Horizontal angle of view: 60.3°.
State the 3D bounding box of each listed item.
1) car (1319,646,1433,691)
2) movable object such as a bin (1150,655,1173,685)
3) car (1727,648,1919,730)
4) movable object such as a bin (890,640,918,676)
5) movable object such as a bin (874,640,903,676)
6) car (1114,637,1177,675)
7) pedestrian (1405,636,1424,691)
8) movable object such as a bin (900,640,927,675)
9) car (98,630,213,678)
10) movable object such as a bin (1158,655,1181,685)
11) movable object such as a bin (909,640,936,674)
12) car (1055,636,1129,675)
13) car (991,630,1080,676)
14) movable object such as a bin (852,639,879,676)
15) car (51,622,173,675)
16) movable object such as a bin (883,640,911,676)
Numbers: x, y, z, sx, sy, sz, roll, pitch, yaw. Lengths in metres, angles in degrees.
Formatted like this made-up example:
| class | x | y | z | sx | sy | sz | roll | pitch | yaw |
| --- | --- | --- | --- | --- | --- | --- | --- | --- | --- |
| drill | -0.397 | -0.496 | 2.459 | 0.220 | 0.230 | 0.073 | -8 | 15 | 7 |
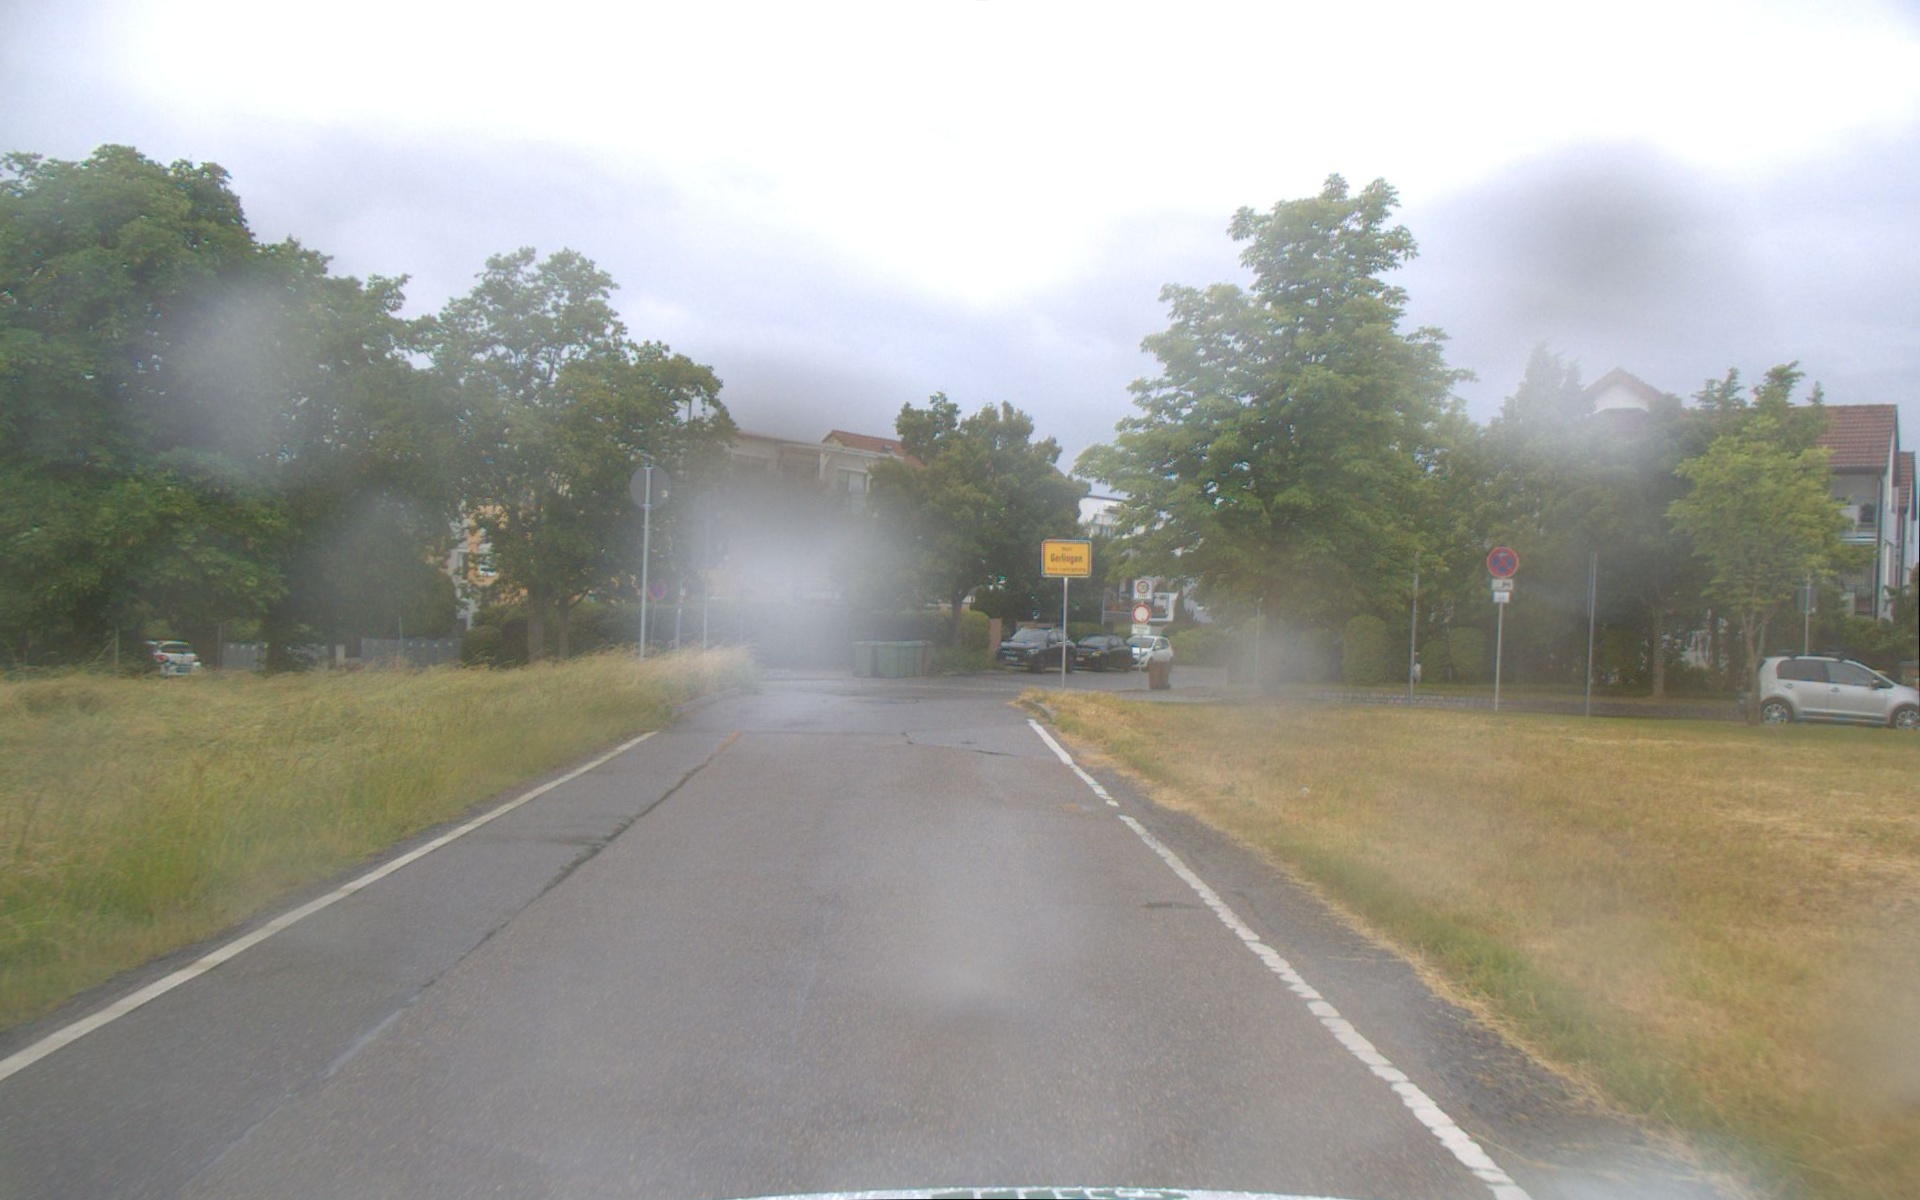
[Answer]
| class | x | y | z | sx | sy | sz | roll | pitch | yaw |
| --- | --- | --- | --- | --- | --- | --- | --- | --- | --- |
| car | 15.980 | 2.612 | 63.573 | 3.918 | 1.693 | 1.773 | -1 | -2 | 35 |
| movable object such as a bin | 6.599 | 2.292 | 54.148 | 0.560 | 0.947 | 0.529 | 1 | -2 | 32 |
| car | 17.439 | 1.767 | 33.237 | 3.468 | 1.505 | 1.680 | 1 | -2 | 16 |
| movable object such as a bin | -1.744 | 1.796 | 51.497 | 0.680 | 1.086 | 0.579 | 1 | -1 | 19 |
| movable object such as a bin | -2.178 | 1.761 | 50.362 | 0.680 | 1.093 | 0.602 | 1 | -1 | 19 |
| car | 8.032 | 2.412 | 71.367 | 1.483 | 1.502 | 3.267 | 3 | -1 | 29 |
| pedestrian | 16.955 | 2.356 | 61.696 | 0.547 | 2.049 | 0.524 | 0 | -1 | 27 |
| movable object such as a bin | -1.469 | 1.807 | 52.083 | 0.680 | 1.073 | 0.605 | 1 | -1 | 19 |
| car | -27.078 | 1.849 | 55.675 | 3.642 | 1.529 | 1.609 | -2 | -3 | 28 |
| movable object such as a bin | 6.904 | 2.316 | 54.624 | 0.560 | 0.947 | 0.529 | 1 | -2 | 32 |
| movable object such as a bin | -1.183 | 1.815 | 52.758 | 0.680 | 1.073 | 0.605 | 1 | -1 | 19 |
| car | 5.363 | 2.240 | 66.934 | 1.604 | 1.433 | 3.599 | 3 | -1 | 28 |
| car | 2.851 | 1.969 | 61.696 | 1.741 | 1.545 | 4.132 | 3 | -1 | 26 |
| movable object such as a bin | -2.886 | 1.749 | 50.553 | 0.651 | 1.092 | 0.544 | 1 | -1 | 20 |
| car | -26.950 | 1.549 | 52.546 | 3.615 | 1.579 | 1.689 | 0 | -2 | 29 |
| movable object such as a bin | -1.943 | 1.776 | 50.928 | 0.680 | 1.093 | 0.544 | 1 | -1 | 19 |
